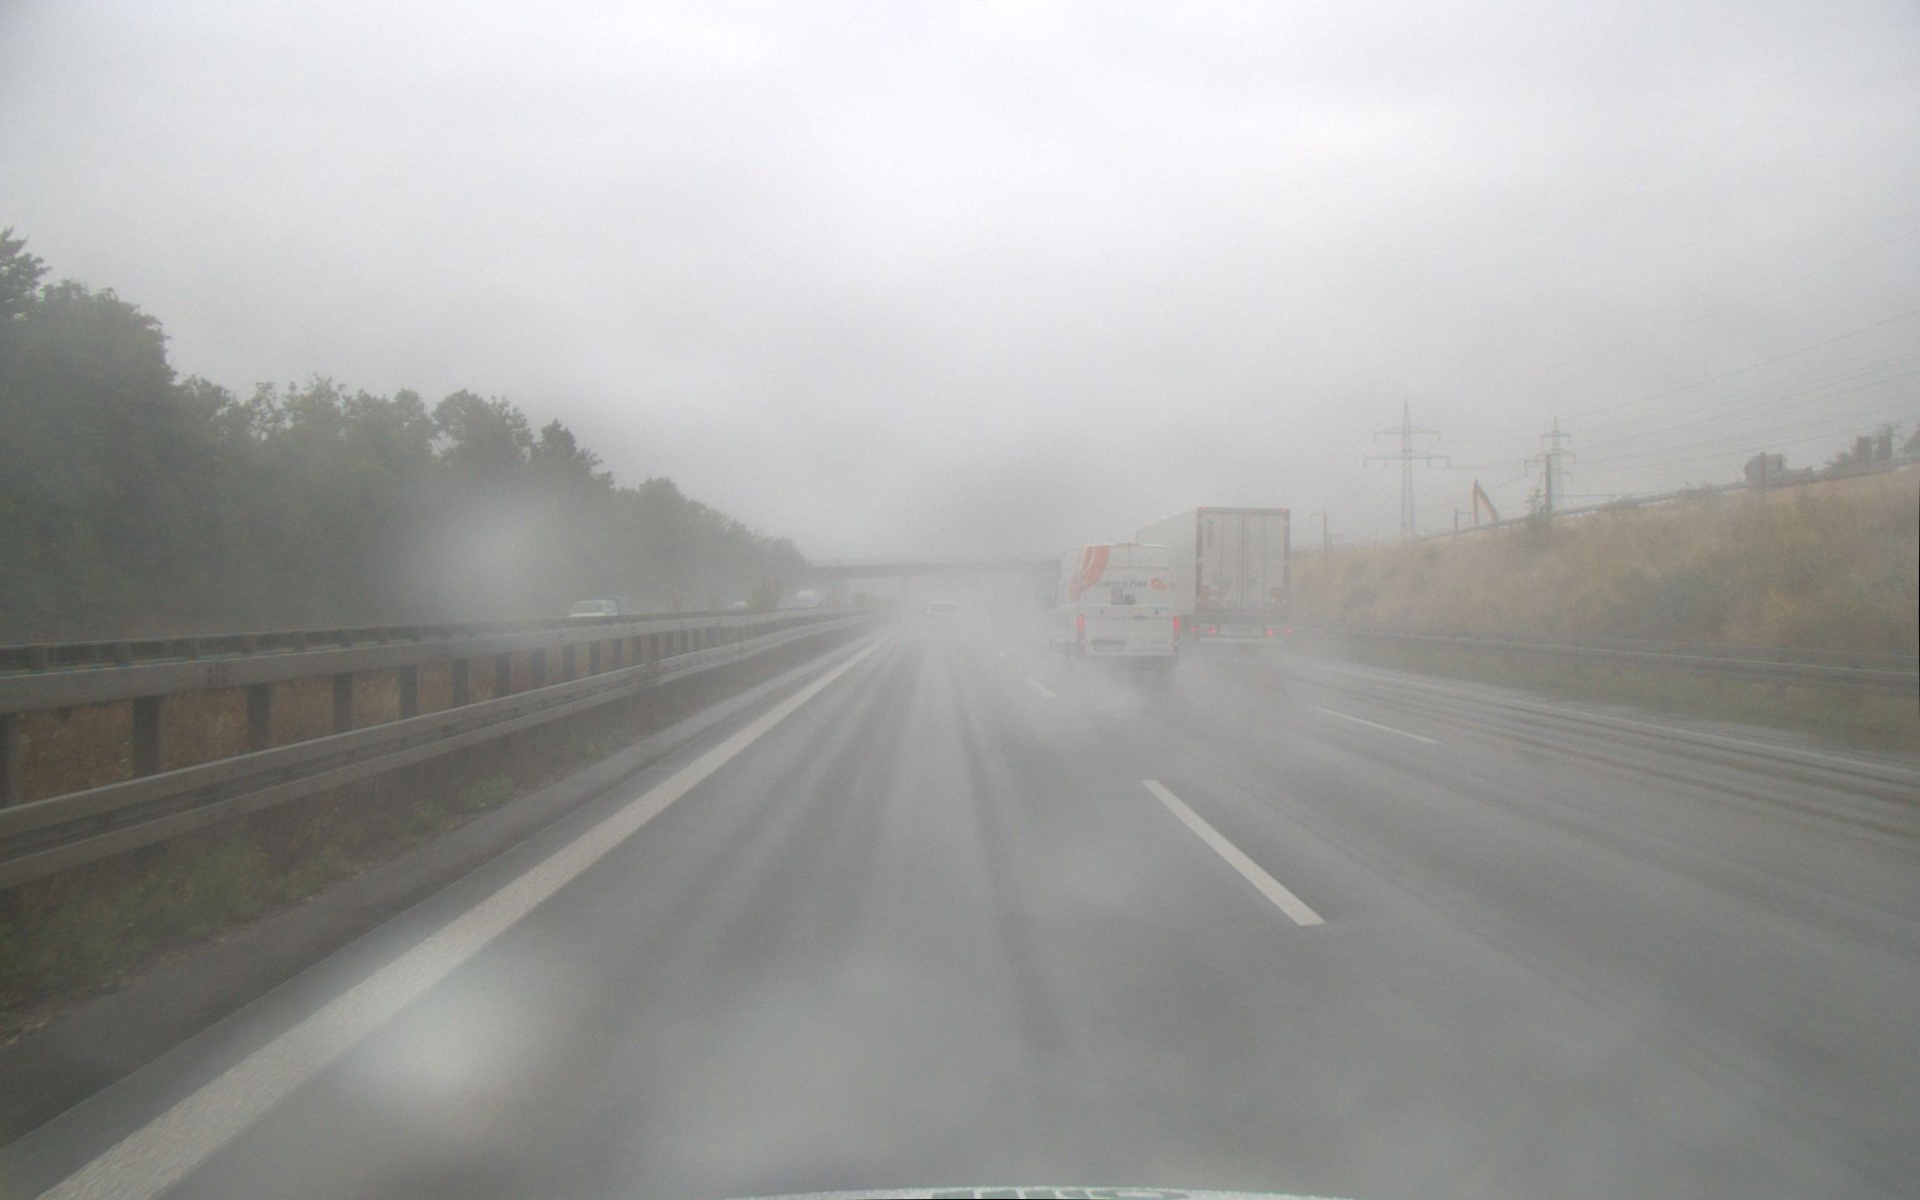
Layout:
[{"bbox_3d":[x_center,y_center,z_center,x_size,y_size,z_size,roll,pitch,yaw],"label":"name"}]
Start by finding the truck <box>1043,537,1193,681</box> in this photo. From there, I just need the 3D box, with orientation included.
[{"bbox_3d":[2.978,0.108,32.468,2.370,2.536,5.560,1,1,0],"label":"truck"}]

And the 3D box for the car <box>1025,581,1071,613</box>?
[{"bbox_3d":[5.840,-0.220,110.560,2.731,2.048,4.992,1,1,-1],"label":"car"}]

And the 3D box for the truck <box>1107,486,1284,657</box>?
[{"bbox_3d":[7.226,-0.793,53.856,2.978,4.668,16.346,1,0,-1],"label":"truck"}]

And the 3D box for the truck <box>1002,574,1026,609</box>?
[{"bbox_3d":[5.582,-0.930,171.423,2.066,3.577,5.246,1,1,-2],"label":"truck"}]
